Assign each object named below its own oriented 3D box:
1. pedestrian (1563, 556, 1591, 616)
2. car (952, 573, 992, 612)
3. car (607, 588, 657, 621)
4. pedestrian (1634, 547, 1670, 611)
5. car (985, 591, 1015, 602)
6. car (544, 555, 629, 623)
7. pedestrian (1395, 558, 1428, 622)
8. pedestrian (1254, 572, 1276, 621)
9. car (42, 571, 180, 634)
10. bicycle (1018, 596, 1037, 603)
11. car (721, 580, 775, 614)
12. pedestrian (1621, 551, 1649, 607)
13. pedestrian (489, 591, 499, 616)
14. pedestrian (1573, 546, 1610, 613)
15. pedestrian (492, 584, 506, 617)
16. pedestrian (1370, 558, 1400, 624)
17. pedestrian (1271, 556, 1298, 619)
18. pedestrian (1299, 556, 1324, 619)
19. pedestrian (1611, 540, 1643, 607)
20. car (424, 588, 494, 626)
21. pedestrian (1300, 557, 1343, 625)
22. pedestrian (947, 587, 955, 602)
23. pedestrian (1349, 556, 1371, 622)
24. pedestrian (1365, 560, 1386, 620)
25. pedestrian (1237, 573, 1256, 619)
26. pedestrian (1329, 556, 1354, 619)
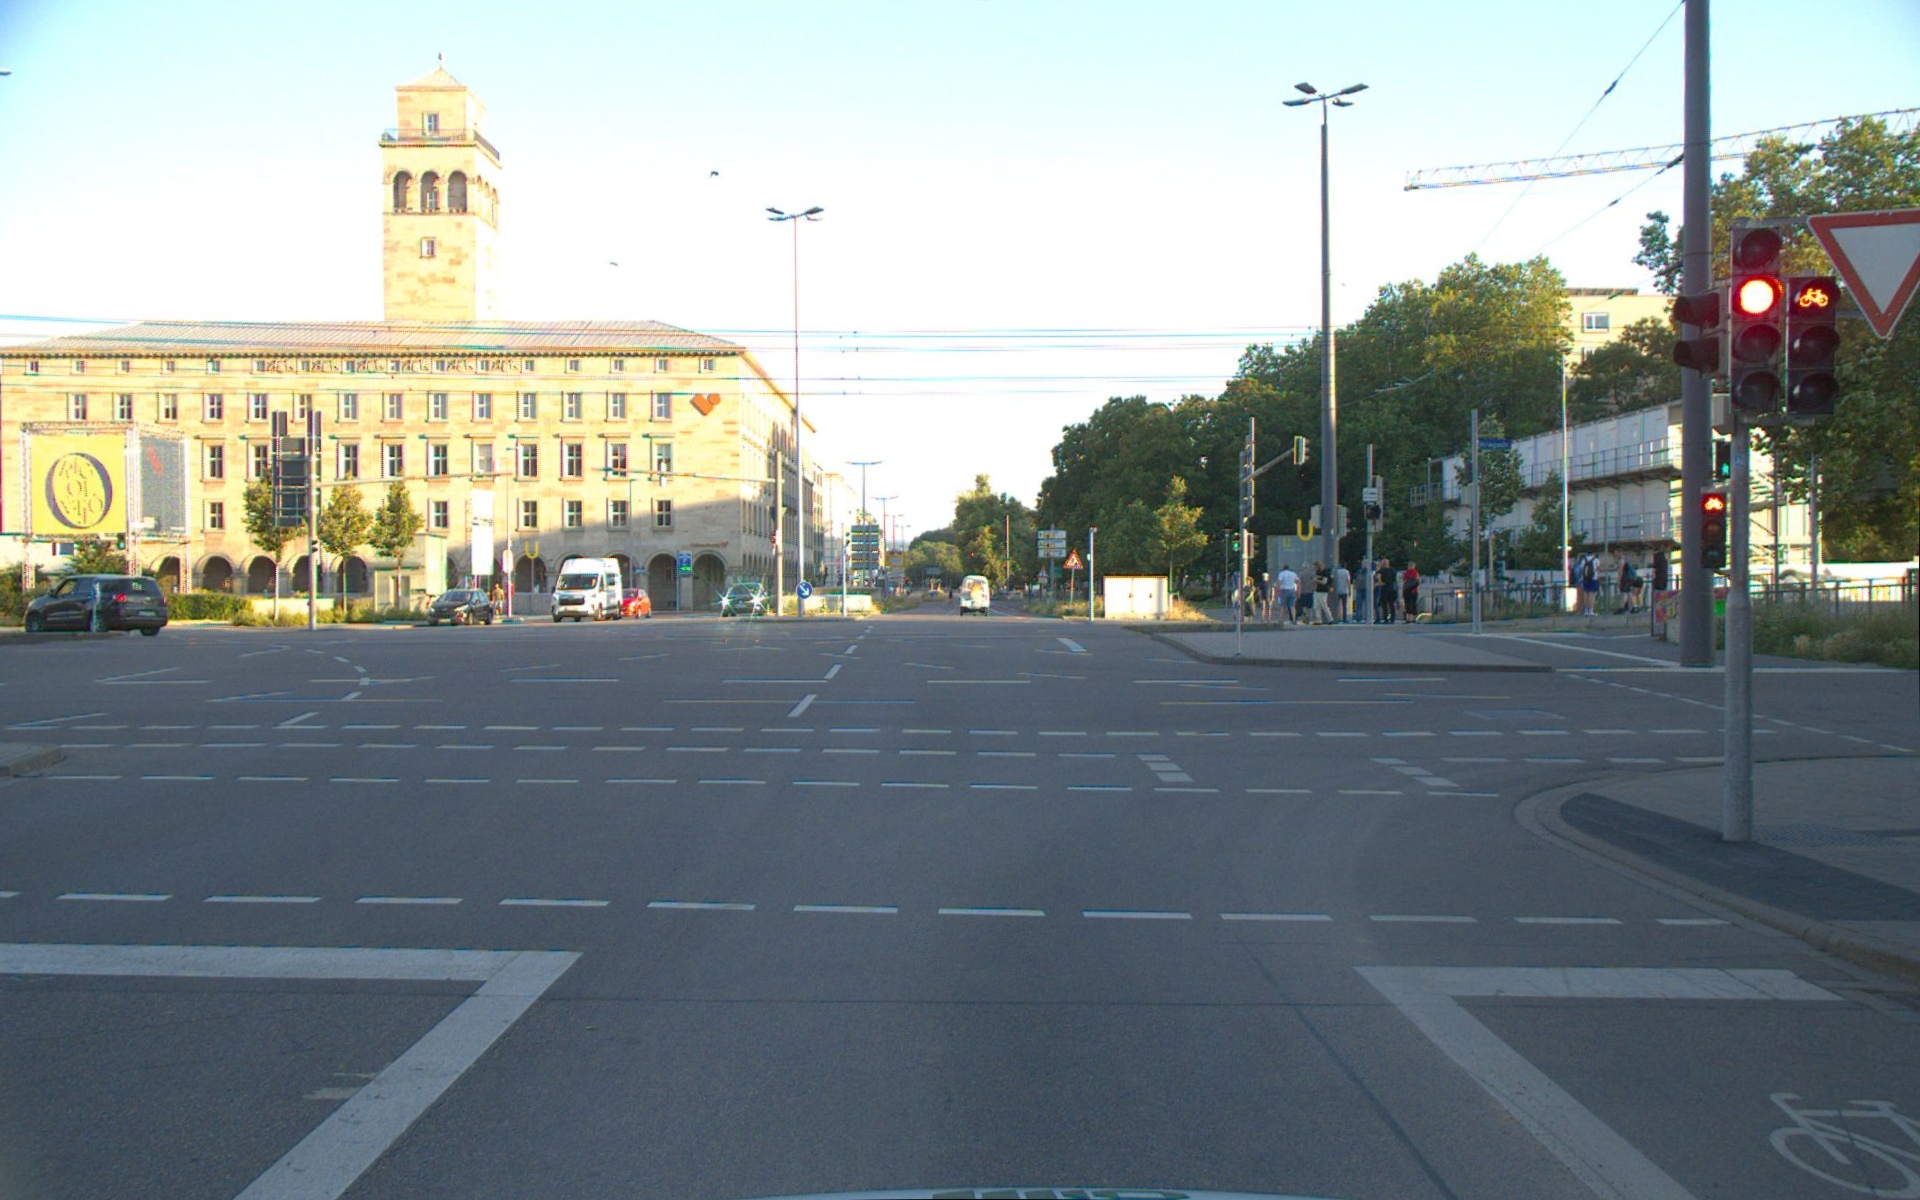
[{"bbox_3d":[16.835,-0.395,45.116,0.559,1.620,0.536,-1,0,-1],"label":"pedestrian"},{"bbox_3d":[0.523,-0.352,74.589,1.454,1.725,2.970,-1,1,-6],"label":"car"},{"bbox_3d":[-16.021,0.199,80.937,1.703,1.513,4.000,-1,1,-1],"label":"car"},{"bbox_3d":[19.089,-0.589,45.653,0.653,1.755,0.712,-1,1,-7],"label":"pedestrian"},{"bbox_3d":[5.680,-0.564,234.829,3.901,1.513,1.746,0,1,11],"label":"car"},{"bbox_3d":[-16.243,-0.486,72.234,2.232,2.824,6.085,-1,1,1],"label":"car"},{"bbox_3d":[12.609,-0.277,46.202,0.826,1.764,0.706,0,1,11],"label":"pedestrian"},{"bbox_3d":[11.193,-0.134,60.705,0.665,1.788,0.902,0,1,20],"label":"pedestrian"},{"bbox_3d":[-23.001,0.056,44.776,4.053,1.632,1.737,0,1,37],"label":"car"},{"bbox_3d":[9.231,-0.050,226.068,2.560,0.975,0.512,-1,1,-17],"label":"bicycle"},{"bbox_3d":[-9.253,-0.148,72.489,1.785,1.365,4.001,0,1,1],"label":"car"},{"bbox_3d":[18.073,-0.560,44.279,0.662,1.466,0.714,0,1,21],"label":"pedestrian"},{"bbox_3d":[-24.673,0.206,87.535,0.412,1.323,0.459,1,-1,-6],"label":"pedestrian"},{"bbox_3d":[16.759,-0.535,43.885,0.705,1.755,0.660,-1,1,-36],"label":"pedestrian"},{"bbox_3d":[-24.620,0.036,88.344,0.609,1.774,0.459,1,-1,-6],"label":"pedestrian"},{"bbox_3d":[11.760,-0.247,45.785,0.788,1.822,0.801,0,1,13],"label":"pedestrian"},{"bbox_3d":[9.077,-0.362,46.278,0.695,1.755,0.669,0,1,13],"label":"pedestrian"},{"bbox_3d":[9.867,-0.348,46.414,0.695,1.755,0.669,0,1,13],"label":"pedestrian"},{"bbox_3d":[17.596,-0.705,43.633,0.696,1.755,0.669,0,1,16],"label":"pedestrian"},{"bbox_3d":[-21.127,0.281,69.880,1.786,1.491,4.156,-1,1,-2],"label":"car"},{"bbox_3d":[9.502,-0.244,43.433,0.906,1.755,0.703,-1,1,-39],"label":"pedestrian"},{"bbox_3d":[-1.073,-0.681,194.515,0.888,1.700,1.306,-1,1,-2],"label":"pedestrian"},{"bbox_3d":[11.085,-0.303,45.828,0.560,1.822,0.639,0,1,13],"label":"pedestrian"},{"bbox_3d":[11.890,-0.297,47.309,0.560,1.708,0.639,0,1,13],"label":"pedestrian"},{"bbox_3d":[10.547,-0.143,60.812,0.548,1.683,0.902,0,1,20],"label":"pedestrian"},{"bbox_3d":[10.775,-0.353,46.722,0.695,1.755,0.916,0,1,13],"label":"pedestrian"}]
